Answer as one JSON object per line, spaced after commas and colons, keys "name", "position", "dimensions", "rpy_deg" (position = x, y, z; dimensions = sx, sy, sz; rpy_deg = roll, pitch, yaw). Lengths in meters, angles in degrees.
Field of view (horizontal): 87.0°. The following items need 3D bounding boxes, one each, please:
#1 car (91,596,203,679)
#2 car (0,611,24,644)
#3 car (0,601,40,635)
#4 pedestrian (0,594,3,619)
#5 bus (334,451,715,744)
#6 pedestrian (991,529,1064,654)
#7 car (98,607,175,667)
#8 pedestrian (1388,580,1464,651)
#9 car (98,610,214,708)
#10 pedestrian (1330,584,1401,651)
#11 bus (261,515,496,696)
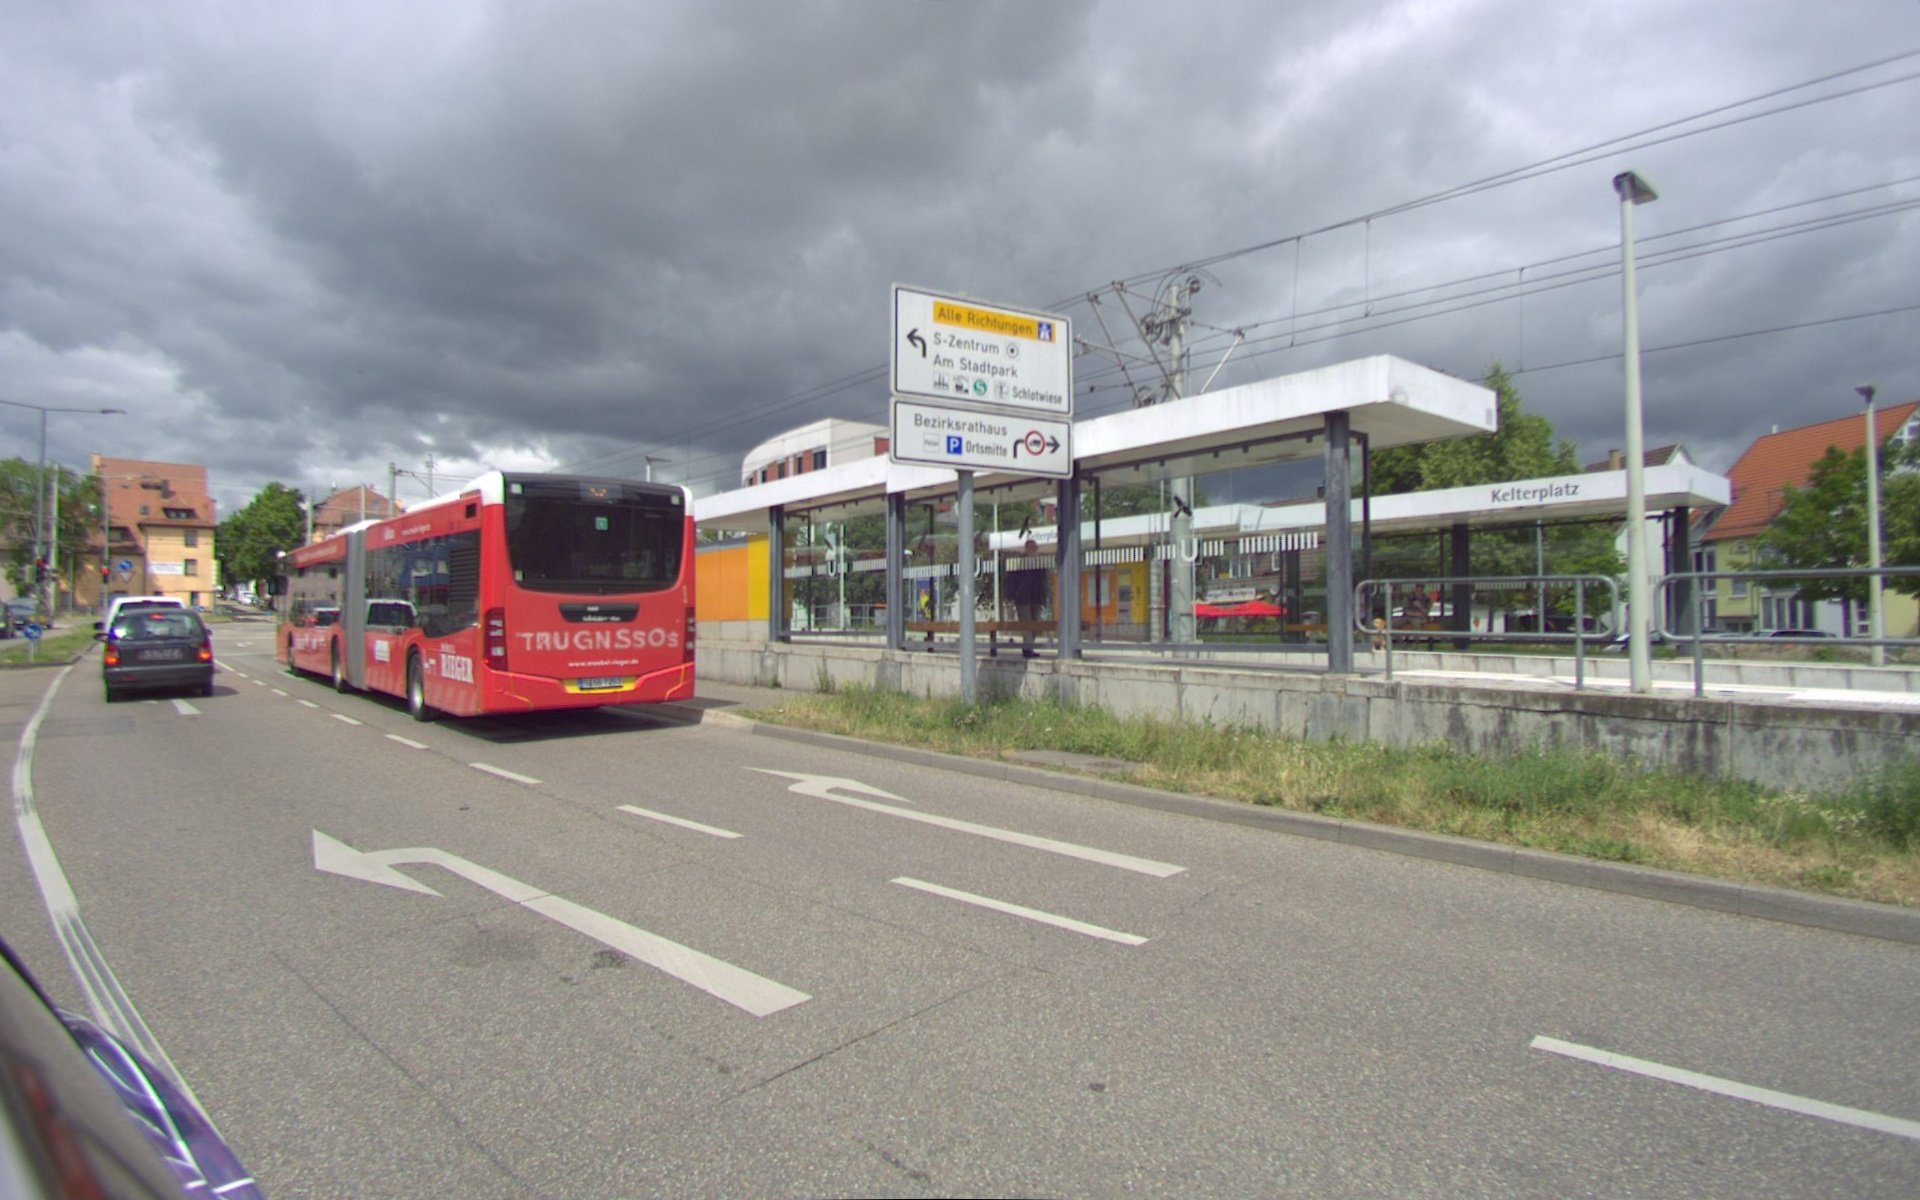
{"name": "car", "position": [-19.320, 0.956, 23.990], "dimensions": [1.740, 1.675, 4.510], "rpy_deg": [2, -6, -42]}
{"name": "car", "position": [-43.437, 1.265, 45.306], "dimensions": [1.853, 1.440, 4.008], "rpy_deg": [1, -3, -37]}
{"name": "car", "position": [-48.733, 0.953, 52.055], "dimensions": [1.970, 1.662, 4.424], "rpy_deg": [1, -3, -43]}
{"name": "pedestrian", "position": [-69.723, 0.466, 73.072], "dimensions": [0.750, 1.763, 0.684], "rpy_deg": [0, -2, 36]}
{"name": "bus", "position": [-6.937, 0.068, 15.011], "dimensions": [2.692, 3.093, 8.978], "rpy_deg": [2, -2, -40]}
{"name": "pedestrian", "position": [0.935, -0.099, 14.026], "dimensions": [0.679, 1.669, 0.701], "rpy_deg": [1, -3, -41]}
{"name": "car", "position": [-24.448, 1.051, 30.152], "dimensions": [1.677, 1.661, 4.087], "rpy_deg": [0, -1, -38]}
{"name": "pedestrian", "position": [8.945, 0.304, 19.439], "dimensions": [0.747, 1.302, 1.114], "rpy_deg": [2, -2, -39]}
{"name": "car", "position": [-14.615, 0.977, 18.340], "dimensions": [1.511, 1.563, 3.738], "rpy_deg": [-1, 0, -40]}
{"name": "pedestrian", "position": [8.149, 0.351, 20.355], "dimensions": [0.747, 1.302, 1.114], "rpy_deg": [2, -2, -39]}
{"name": "bus", "position": [-13.056, 0.196, 22.153], "dimensions": [2.692, 3.133, 9.719], "rpy_deg": [2, -2, -40]}
